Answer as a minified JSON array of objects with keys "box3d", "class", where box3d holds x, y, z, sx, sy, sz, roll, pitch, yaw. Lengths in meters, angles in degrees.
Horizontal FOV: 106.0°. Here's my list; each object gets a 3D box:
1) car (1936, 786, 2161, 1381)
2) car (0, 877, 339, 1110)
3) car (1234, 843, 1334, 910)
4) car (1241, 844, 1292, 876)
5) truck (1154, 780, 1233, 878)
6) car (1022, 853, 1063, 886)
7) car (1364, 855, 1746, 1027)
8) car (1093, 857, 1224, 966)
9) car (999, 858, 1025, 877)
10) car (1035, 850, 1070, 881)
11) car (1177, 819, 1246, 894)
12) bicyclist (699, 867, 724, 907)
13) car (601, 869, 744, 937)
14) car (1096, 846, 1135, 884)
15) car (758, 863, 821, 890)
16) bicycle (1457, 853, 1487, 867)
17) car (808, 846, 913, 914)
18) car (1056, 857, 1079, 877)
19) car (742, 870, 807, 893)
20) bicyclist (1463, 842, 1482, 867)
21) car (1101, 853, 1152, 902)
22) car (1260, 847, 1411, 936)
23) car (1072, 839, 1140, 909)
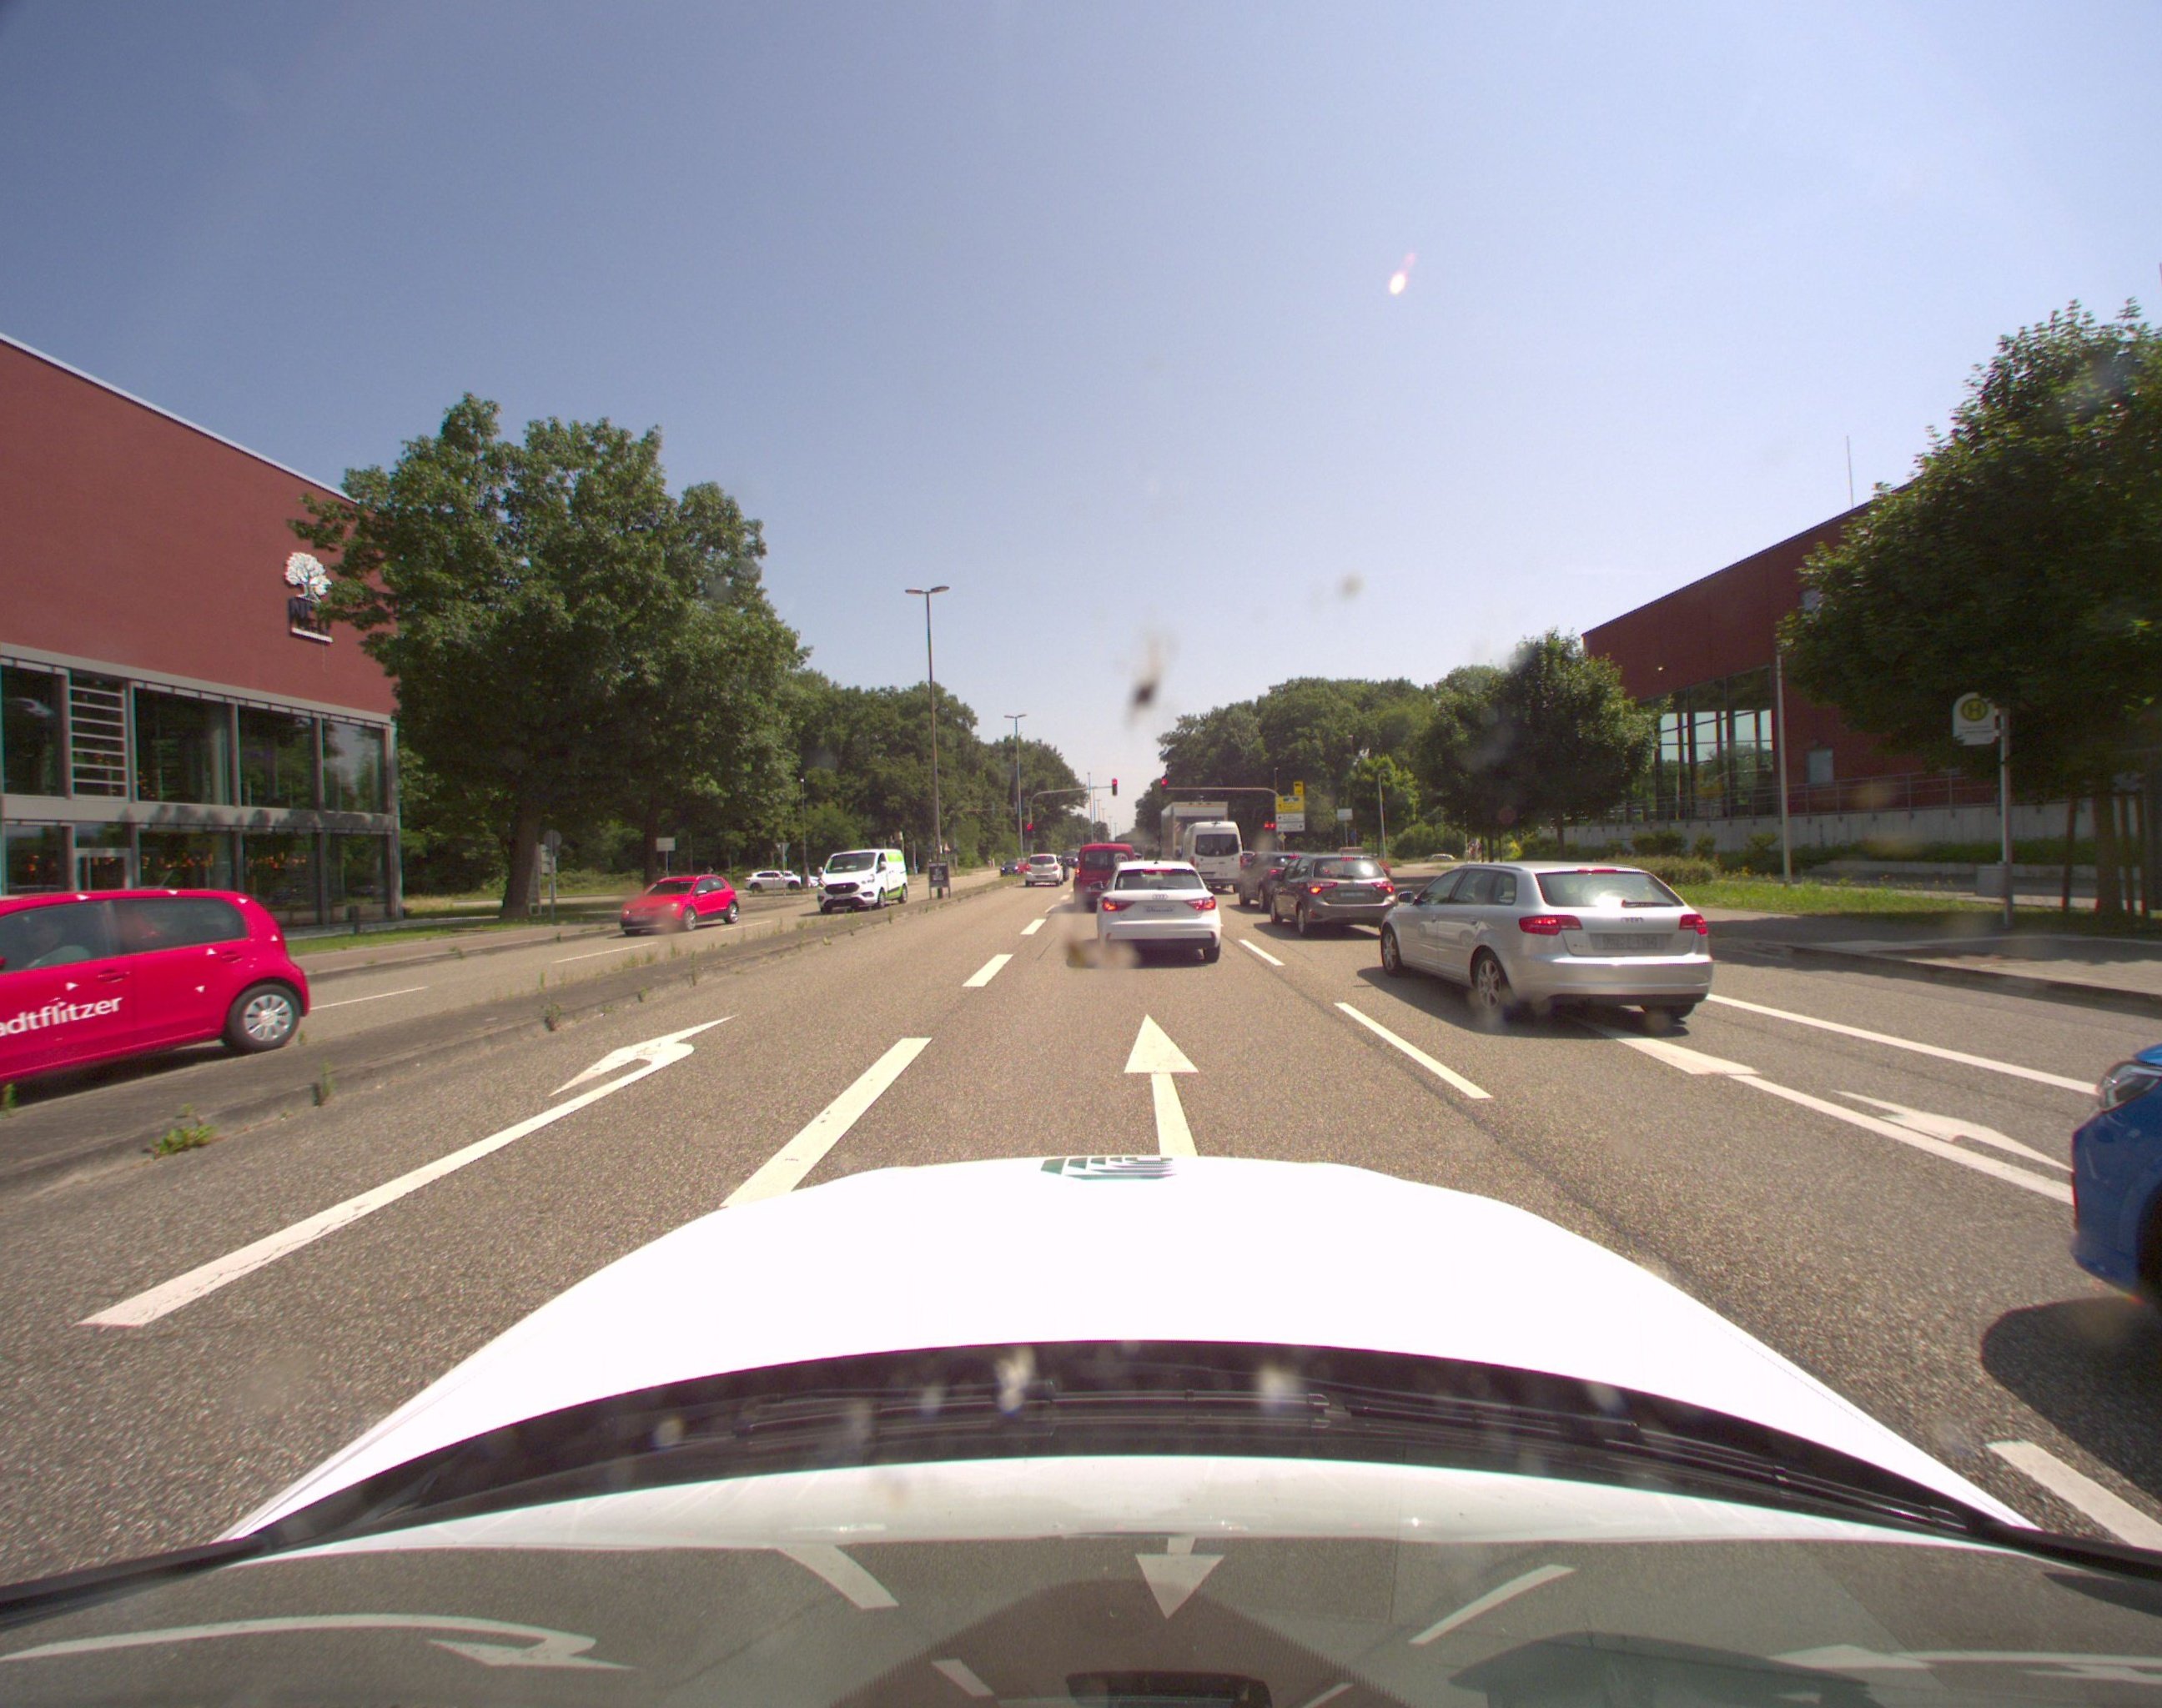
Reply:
[{"box3d":[3.748,0.601,0.533,1.830,1.596,4.402,-1,0,2],"class":"car"},{"box3d":[-7.821,0.995,5.832,1.575,1.441,3.609,-4,0,1],"class":"car"},{"box3d":[5.312,0.551,21.832,1.706,1.593,4.092,-1,0,1],"class":"car"},{"box3d":[9.435,0.284,41.633,1.706,1.546,4.092,-1,0,1],"class":"car"},{"box3d":[5.647,-1.163,43.010,3.076,4.434,11.587,-1,0,3],"class":"truck"},{"box3d":[-1.807,0.700,39.545,1.706,1.492,4.092,-1,0,1],"class":"car"},{"box3d":[4.490,0.698,8.541,1.706,1.362,4.092,0,0,1],"class":"car"},{"box3d":[1.064,0.762,12.806,1.706,1.386,4.092,-1,0,1],"class":"car"},{"box3d":[-5.686,1.098,67.775,1.673,1.339,4.001,-5,0,1],"class":"car"},{"box3d":[-1.586,0.618,46.514,1.768,1.641,4.037,-1,0,1],"class":"car"},{"box3d":[4.981,0.093,31.715,2.023,2.644,4.847,-1,0,2],"class":"car"},{"box3d":[-16.672,1.478,36.766,0.647,1.770,0.928,-2,0,2],"class":"bicyclist"},{"box3d":[-10.958,1.255,22.183,1.699,1.452,3.893,-5,0,2],"class":"car"},{"box3d":[1.549,0.479,37.773,1.706,1.631,4.092,-1,0,1],"class":"car"},{"box3d":[-23.821,1.826,66.604,4.365,1.681,1.807,-6,0,-6],"class":"car"},{"box3d":[23.268,0.345,48.473,1.831,0.766,0.595,-2,0,-26],"class":"bicycle"},{"box3d":[-7.288,0.803,27.486,1.986,1.945,4.910,-4,0,1],"class":"car"},{"box3d":[-1.444,1.359,86.473,1.991,2.013,3.991,-2,0,-6],"class":"car"},{"box3d":[-23.529,2.122,62.684,4.364,1.681,1.807,0,-1,-6],"class":"car"},{"box3d":[23.315,0.020,48.516,0.831,1.439,0.594,-2,0,-27],"class":"bicyclist"},{"box3d":[1.593,0.808,29.707,1.706,1.631,4.092,-1,0,1],"class":"car"},{"box3d":[4.772,0.638,15.890,1.706,1.478,4.092,2,0,1],"class":"car"},{"box3d":[0.689,0.505,22.866,1.706,1.748,4.092,-1,0,1],"class":"car"}]
